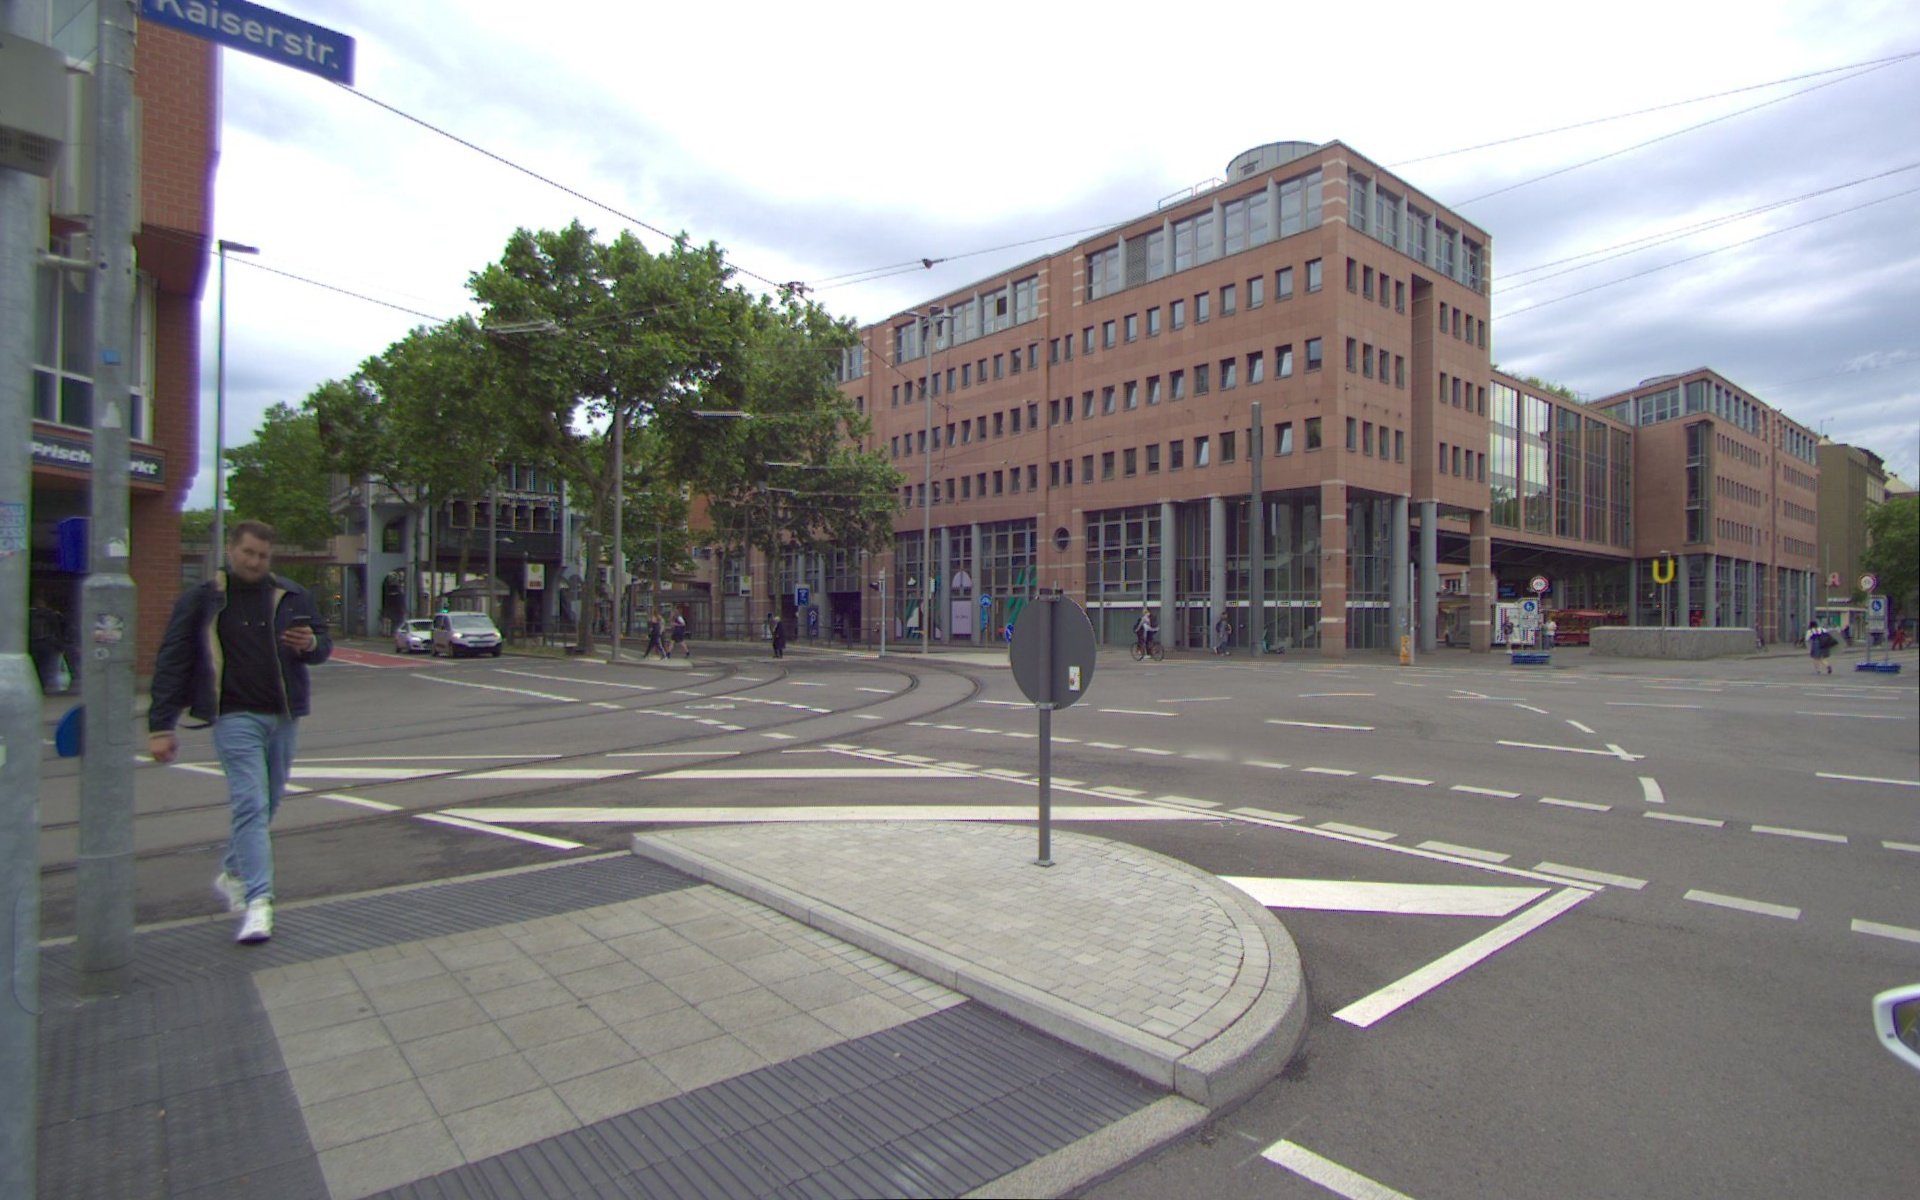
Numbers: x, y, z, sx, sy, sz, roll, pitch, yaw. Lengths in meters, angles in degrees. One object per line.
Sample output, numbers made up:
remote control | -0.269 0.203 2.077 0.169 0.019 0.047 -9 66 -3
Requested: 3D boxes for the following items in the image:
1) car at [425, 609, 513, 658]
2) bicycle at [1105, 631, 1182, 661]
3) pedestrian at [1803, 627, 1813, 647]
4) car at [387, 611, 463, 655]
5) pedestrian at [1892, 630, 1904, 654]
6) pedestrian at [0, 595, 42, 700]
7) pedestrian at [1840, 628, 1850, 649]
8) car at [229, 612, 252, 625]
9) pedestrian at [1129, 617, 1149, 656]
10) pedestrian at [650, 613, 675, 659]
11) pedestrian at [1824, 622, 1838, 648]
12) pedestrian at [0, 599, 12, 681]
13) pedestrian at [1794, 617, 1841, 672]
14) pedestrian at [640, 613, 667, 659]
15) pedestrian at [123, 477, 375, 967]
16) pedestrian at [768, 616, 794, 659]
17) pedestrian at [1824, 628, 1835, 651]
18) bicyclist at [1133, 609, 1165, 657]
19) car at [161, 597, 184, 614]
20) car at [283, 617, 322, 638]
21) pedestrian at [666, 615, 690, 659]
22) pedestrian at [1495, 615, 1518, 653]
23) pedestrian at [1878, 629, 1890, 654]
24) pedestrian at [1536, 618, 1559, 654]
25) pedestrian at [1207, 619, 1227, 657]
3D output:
car | -19.373 1.299 39.567 1.916 1.817 3.947 1 -2 -45
bicycle | 7.194 1.787 39.612 0.897 1.058 3.242 1 -1 -38
pedestrian | 73.966 3.239 87.611 0.594 1.737 0.652 1 0 43
car | -23.673 1.435 44.385 1.916 1.817 3.947 1 -2 -45
pedestrian | 67.026 2.998 71.800 0.594 1.737 0.652 1 0 43
pedestrian | -15.874 0.784 16.726 0.794 1.706 0.736 2 0 -44
pedestrian | 73.568 3.192 83.491 0.594 1.737 0.652 1 0 43
car | -86.616 2.270 120.969 1.668 1.568 3.657 1 -2 -45
pedestrian | 8.115 1.641 45.428 0.730 1.710 0.574 1 -1 24
pedestrian | -10.804 1.315 36.499 0.566 1.633 0.626 1 -1 42
pedestrian | 53.085 2.114 61.234 0.594 1.557 0.652 1 0 43
pedestrian | -20.487 0.824 21.095 0.794 1.706 0.736 2 0 -44
pedestrian | 27.709 1.424 32.466 0.723 1.727 0.924 1 0 -20
pedestrian | -10.747 1.271 35.221 0.566 1.595 0.626 1 -1 42
pedestrian | -3.127 0.489 4.427 0.793 1.914 0.604 2 -2 -42
pedestrian | -6.814 1.428 38.232 0.737 1.581 0.569 3 -1 -35
pedestrian | 66.251 3.012 76.569 0.594 1.737 0.652 1 0 43
bicyclist | 7.410 1.285 39.337 0.830 1.836 0.867 1 0 -39
car | -83.622 0.612 106.675 1.911 1.817 3.666 1 -1 -38
car | -52.835 2.200 80.734 1.916 1.584 3.818 1 -2 -45
pedestrian | -10.576 1.381 37.697 0.566 1.633 0.626 1 -1 42
pedestrian | 26.996 1.673 49.647 0.725 1.866 0.697 1 0 -27
pedestrian | 66.495 2.992 72.266 0.594 1.737 0.652 1 0 43
pedestrian | 30.280 1.854 51.773 0.723 1.866 0.699 1 0 -21
pedestrian | 11.202 1.651 43.749 0.730 1.581 0.574 1 -1 24
